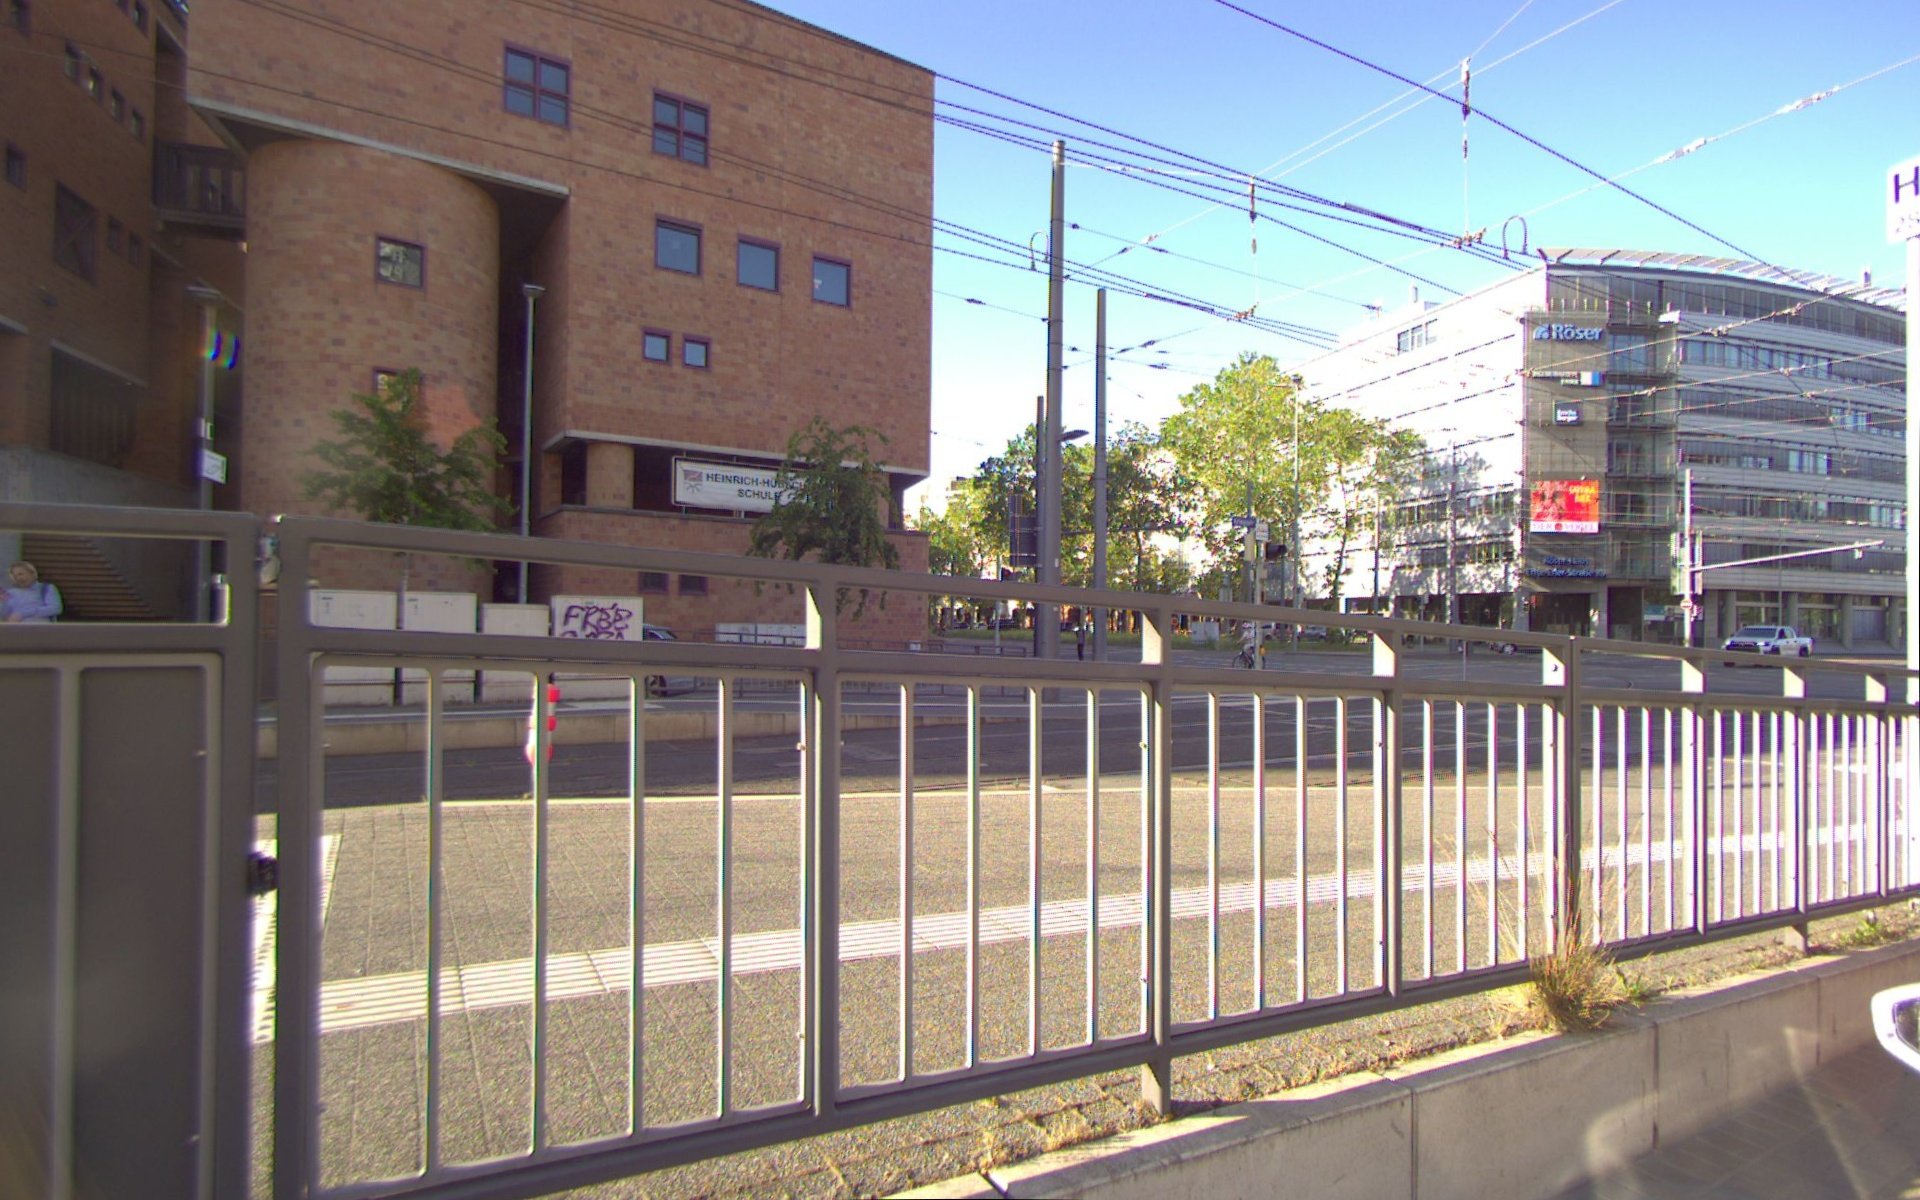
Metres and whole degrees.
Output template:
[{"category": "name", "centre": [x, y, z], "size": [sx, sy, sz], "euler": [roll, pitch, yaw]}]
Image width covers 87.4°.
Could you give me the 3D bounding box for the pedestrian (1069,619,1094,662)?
[{"category": "pedestrian", "centre": [4.900, 1.633, 40.537], "size": [0.785, 1.714, 0.587], "euler": [2, 0, -29]}]

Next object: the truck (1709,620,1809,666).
[{"category": "truck", "centre": [35.225, 1.932, 44.266], "size": [5.103, 1.904, 1.982], "euler": [3, -4, -34]}]

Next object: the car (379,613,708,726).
[{"category": "car", "centre": [-6.645, 1.078, 16.247], "size": [4.646, 1.589, 1.814], "euler": [2, -2, -34]}]

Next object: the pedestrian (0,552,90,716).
[{"category": "pedestrian", "centre": [-9.709, 0.349, 10.592], "size": [0.679, 1.656, 0.662], "euler": [2, 0, -34]}]

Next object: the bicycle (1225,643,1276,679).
[{"category": "bicycle", "centre": [9.310, 1.950, 32.170], "size": [1.793, 1.104, 0.458], "euler": [2, -3, -30]}]

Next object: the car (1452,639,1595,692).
[{"category": "car", "centre": [13.637, 1.560, 24.380], "size": [2.841, 1.077, 1.238], "euler": [2, 0, 40]}]

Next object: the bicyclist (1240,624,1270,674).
[{"category": "bicyclist", "centre": [9.430, 1.554, 32.117], "size": [0.642, 1.554, 0.584], "euler": [2, 0, -30]}]
